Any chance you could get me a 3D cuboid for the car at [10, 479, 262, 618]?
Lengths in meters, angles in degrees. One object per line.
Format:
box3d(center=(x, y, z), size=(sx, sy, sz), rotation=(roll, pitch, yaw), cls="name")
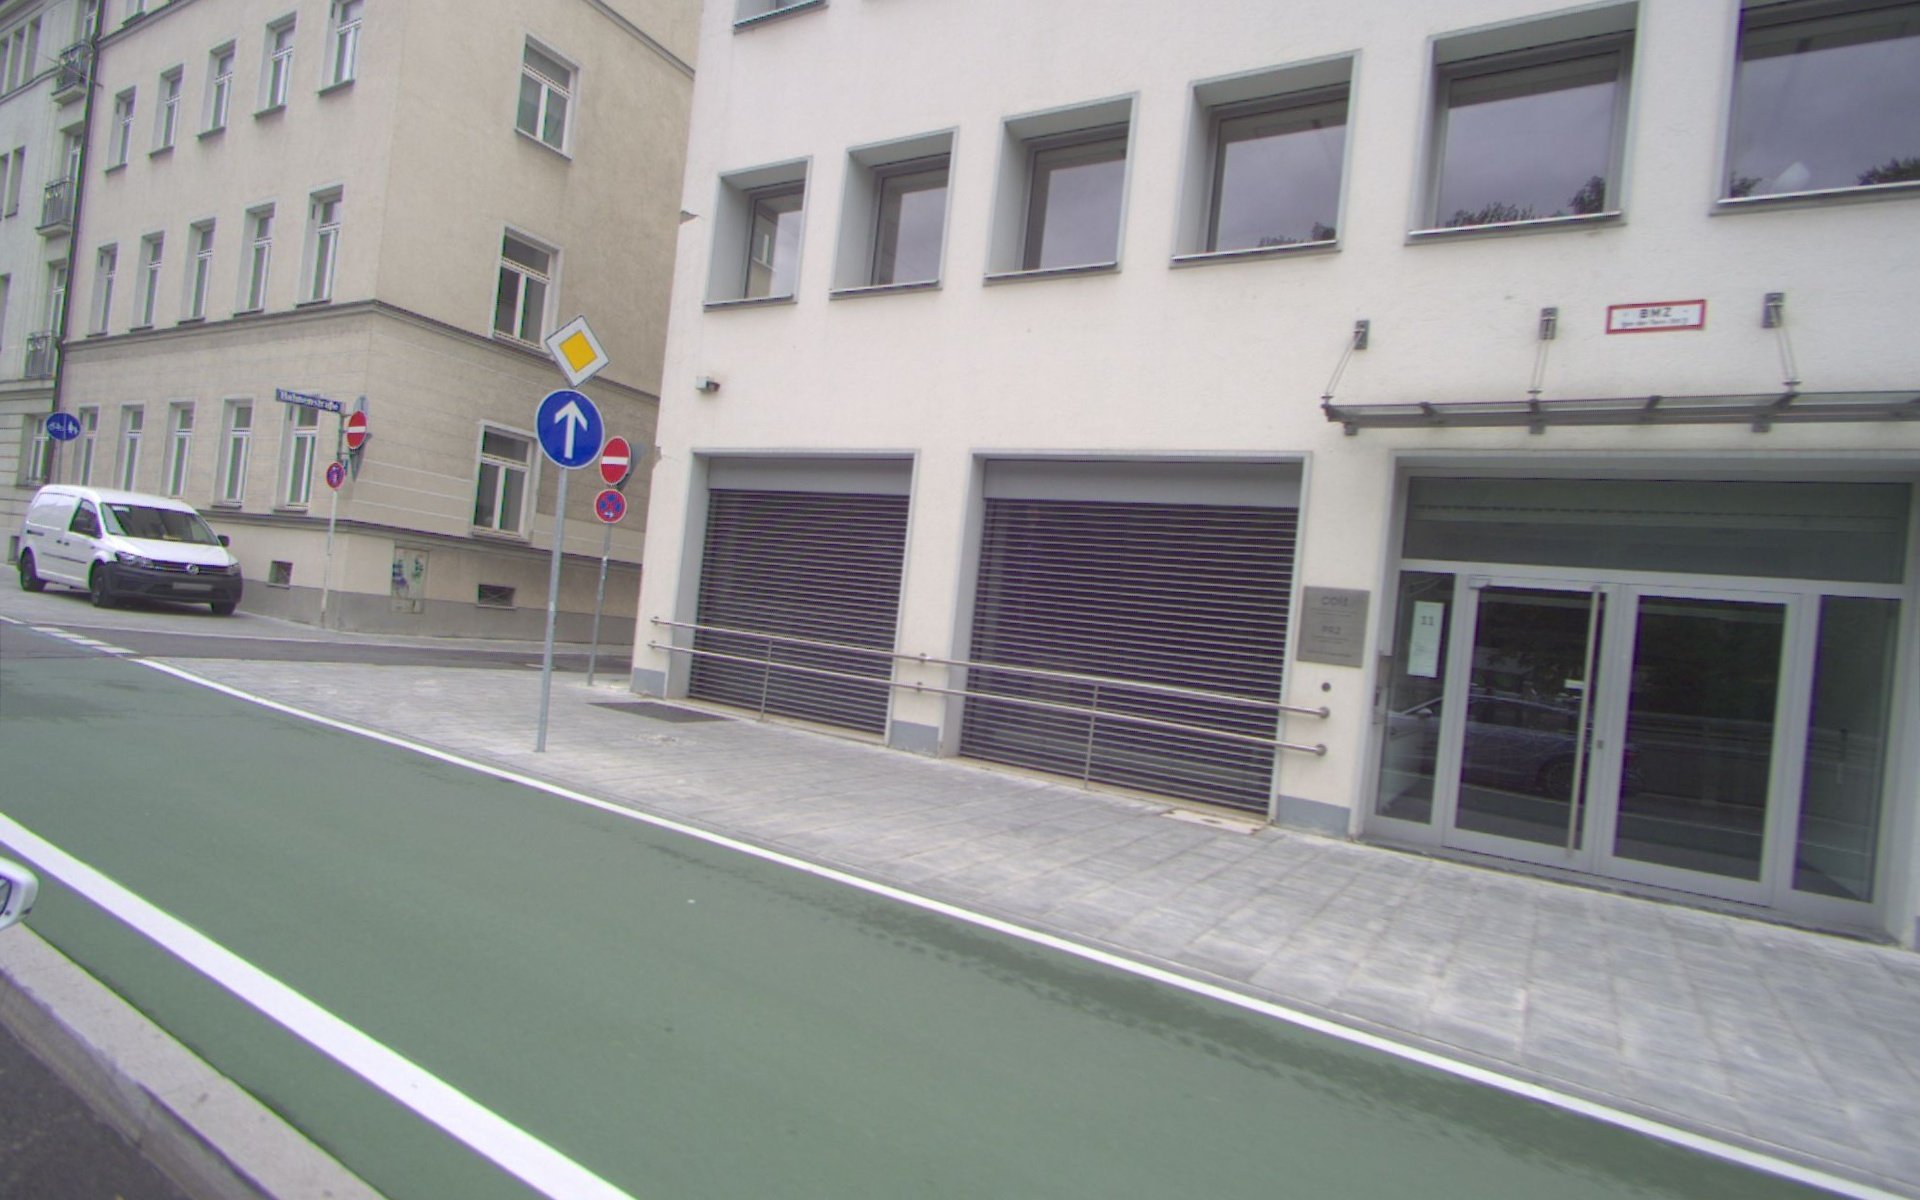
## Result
box3d(center=(-13.337, -0.857, 16.218), size=(4.362, 1.771, 1.735), rotation=(6, 0, 32), cls="car")
